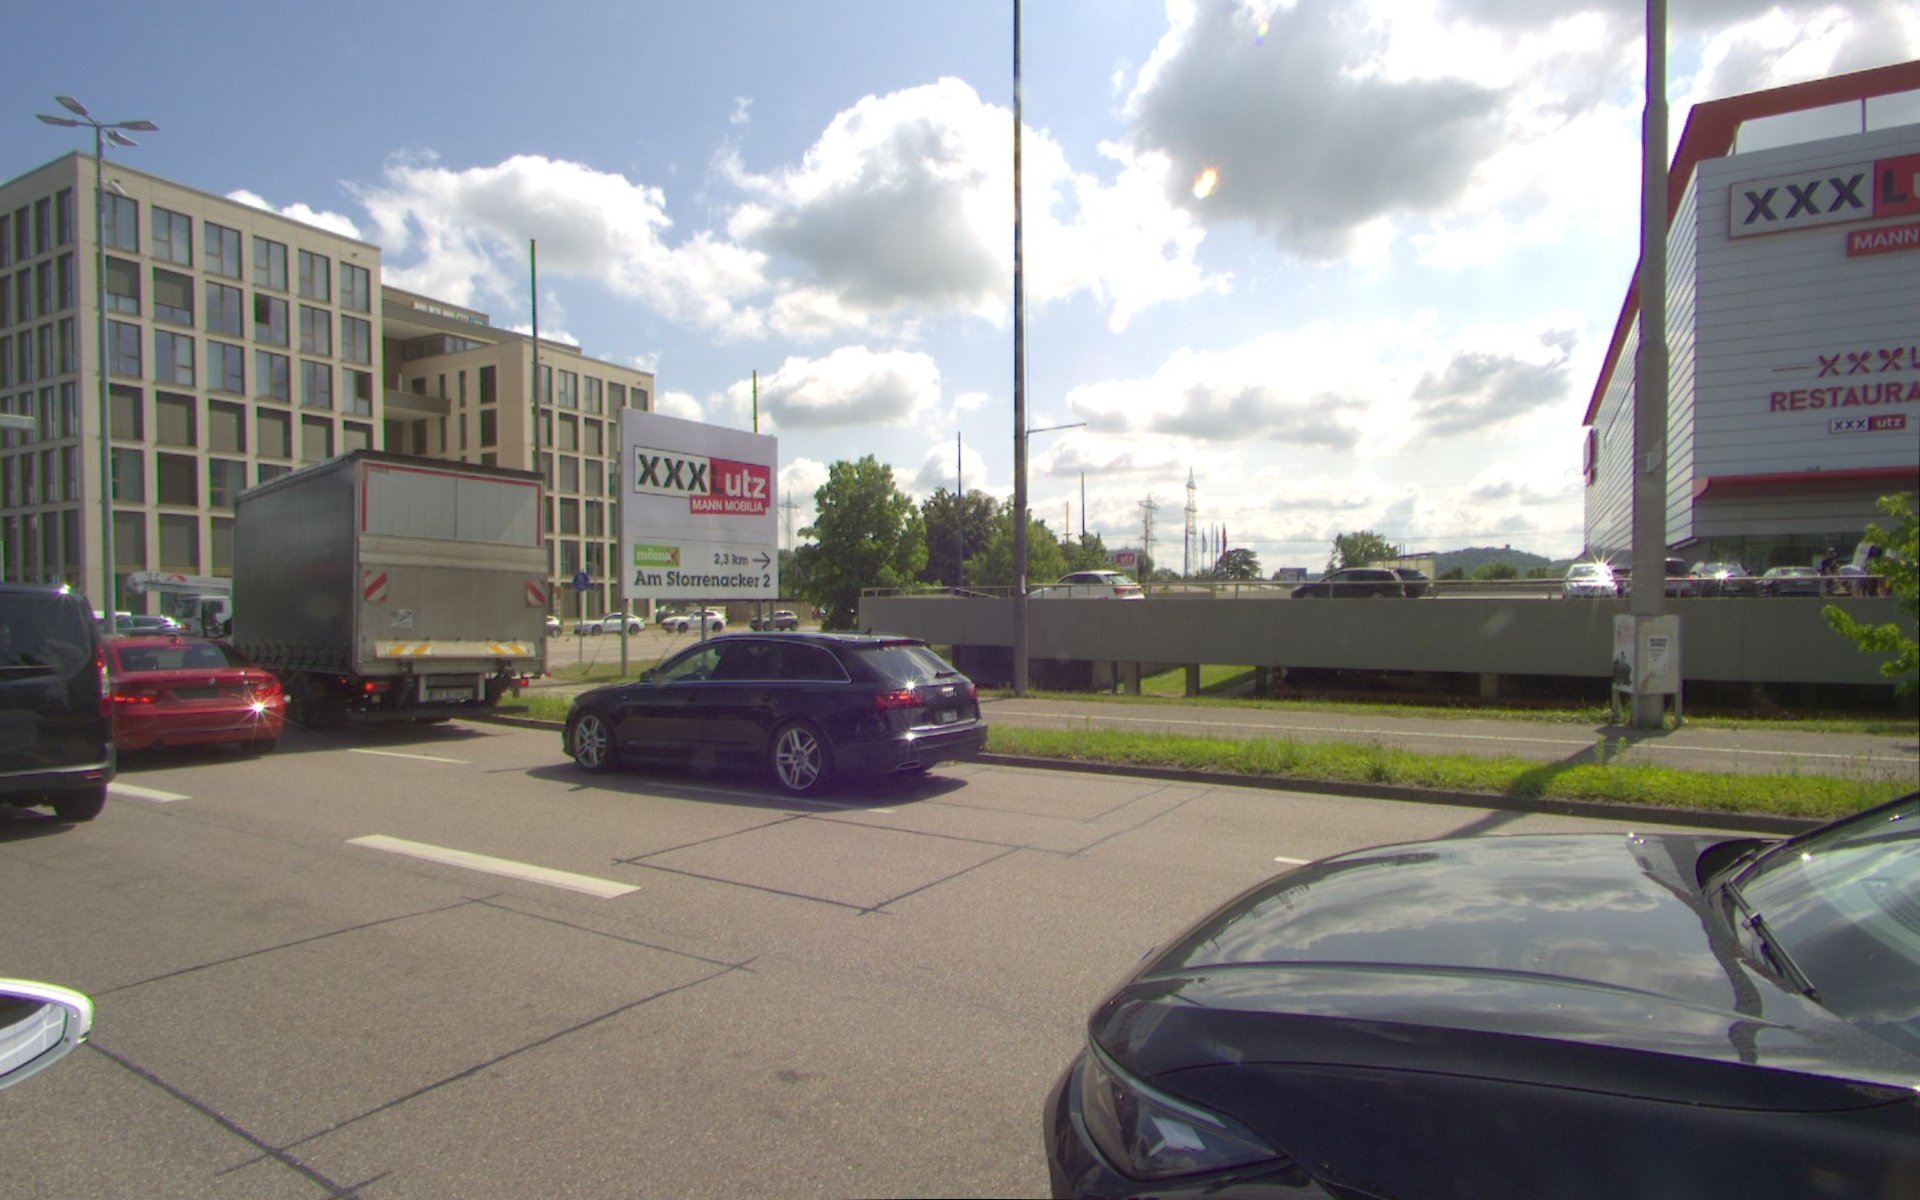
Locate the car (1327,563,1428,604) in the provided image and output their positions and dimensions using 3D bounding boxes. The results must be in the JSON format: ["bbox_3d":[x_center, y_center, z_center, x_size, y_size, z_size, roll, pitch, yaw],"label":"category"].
[{"bbox_3d":[19.984,-0.731,47.944,4.352,1.808,1.948,-1,-1,26],"label":"car"}]

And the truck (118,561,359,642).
[{"bbox_3d":[-35.541,0.244,49.968,2.632,3.600,9.755,-1,-2,25],"label":"truck"}]

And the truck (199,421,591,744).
[{"bbox_3d":[-9.896,-0.055,16.899,8.973,4.078,3.196,-2,-2,43],"label":"truck"}]

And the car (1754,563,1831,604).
[{"bbox_3d":[33.955,-0.610,40.950,1.536,1.490,4.406,-1,-1,28],"label":"car"}]

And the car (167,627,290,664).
[{"bbox_3d":[-33.502,2.067,45.967,1.801,1.647,4.193,-1,-2,31],"label":"car"}]

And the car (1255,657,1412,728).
[{"bbox_3d":[10.558,2.557,28.326,3.938,1.772,1.992,-1,-1,29],"label":"car"}]

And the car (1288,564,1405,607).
[{"bbox_3d":[15.814,-0.556,41.016,4.352,1.626,1.948,-1,-1,26],"label":"car"}]

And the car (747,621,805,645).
[{"bbox_3d":[-14.628,2.615,79.725,1.809,1.861,4.408,-2,-2,43],"label":"car"}]

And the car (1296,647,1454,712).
[{"bbox_3d":[12.634,2.359,30.536,4.296,1.772,1.992,-1,-1,29],"label":"car"}]

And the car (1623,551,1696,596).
[{"bbox_3d":[28.729,-1.023,41.253,1.925,1.626,4.406,-1,-1,28],"label":"car"}]

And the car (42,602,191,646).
[{"bbox_3d":[-33.444,0.980,39.836,1.798,1.647,4.200,-1,-2,25],"label":"car"}]

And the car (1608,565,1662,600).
[{"bbox_3d":[35.292,-0.892,52.455,1.925,1.626,4.406,-1,-1,28],"label":"car"}]

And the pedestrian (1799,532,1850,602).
[{"bbox_3d":[25.876,-0.977,29.980,0.694,2.039,0.910,0,-1,-13],"label":"pedestrian"}]

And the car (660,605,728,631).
[{"bbox_3d":[-19.636,1.386,74.003,1.809,1.861,4.674,-2,-2,43],"label":"car"}]

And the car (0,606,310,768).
[{"bbox_3d":[-9.944,0.982,12.256,4.161,1.676,1.855,-2,-2,34],"label":"car"}]

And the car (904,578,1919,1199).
[{"bbox_3d":[2.553,0.725,0.989,5.129,1.497,1.805,-1,-1,32],"label":"car"}]

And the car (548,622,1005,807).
[{"bbox_3d":[-1.974,0.979,10.110,4.613,1.497,1.770,-1,-1,33],"label":"car"}]

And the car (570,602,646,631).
[{"bbox_3d":[-24.123,1.175,68.755,1.806,1.861,4.692,-2,-2,38],"label":"car"}]

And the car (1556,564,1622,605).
[{"bbox_3d":[25.422,-0.585,40.600,1.925,1.490,4.406,-1,-1,28],"label":"car"}]

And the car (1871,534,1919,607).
[{"bbox_3d":[26.452,-0.766,27.299,1.892,1.772,4.163,-1,-2,36],"label":"car"}]

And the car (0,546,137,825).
[{"bbox_3d":[-8.362,0.616,7.910,3.944,1.929,1.819,-1,-1,34],"label":"car"}]

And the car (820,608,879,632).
[{"bbox_3d":[-8.846,1.627,80.430,1.809,1.861,4.761,-2,-2,43],"label":"car"}]

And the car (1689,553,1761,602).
[{"bbox_3d":[31.825,-0.885,41.752,1.888,1.772,3.982,-1,-2,31],"label":"car"}]

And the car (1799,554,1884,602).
[{"bbox_3d":[36.631,-0.860,41.729,1.888,1.772,3.982,-1,-2,31],"label":"car"}]

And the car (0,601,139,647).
[{"bbox_3d":[-38.934,1.086,43.271,1.968,1.861,4.978,-1,-2,25],"label":"car"}]

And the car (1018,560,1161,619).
[{"bbox_3d":[3.973,-0.264,31.130,4.121,1.606,1.865,-2,-3,44],"label":"car"}]

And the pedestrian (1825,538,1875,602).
[{"bbox_3d":[25.713,-0.857,28.953,0.694,1.765,1.019,-1,-1,18],"label":"pedestrian"}]
